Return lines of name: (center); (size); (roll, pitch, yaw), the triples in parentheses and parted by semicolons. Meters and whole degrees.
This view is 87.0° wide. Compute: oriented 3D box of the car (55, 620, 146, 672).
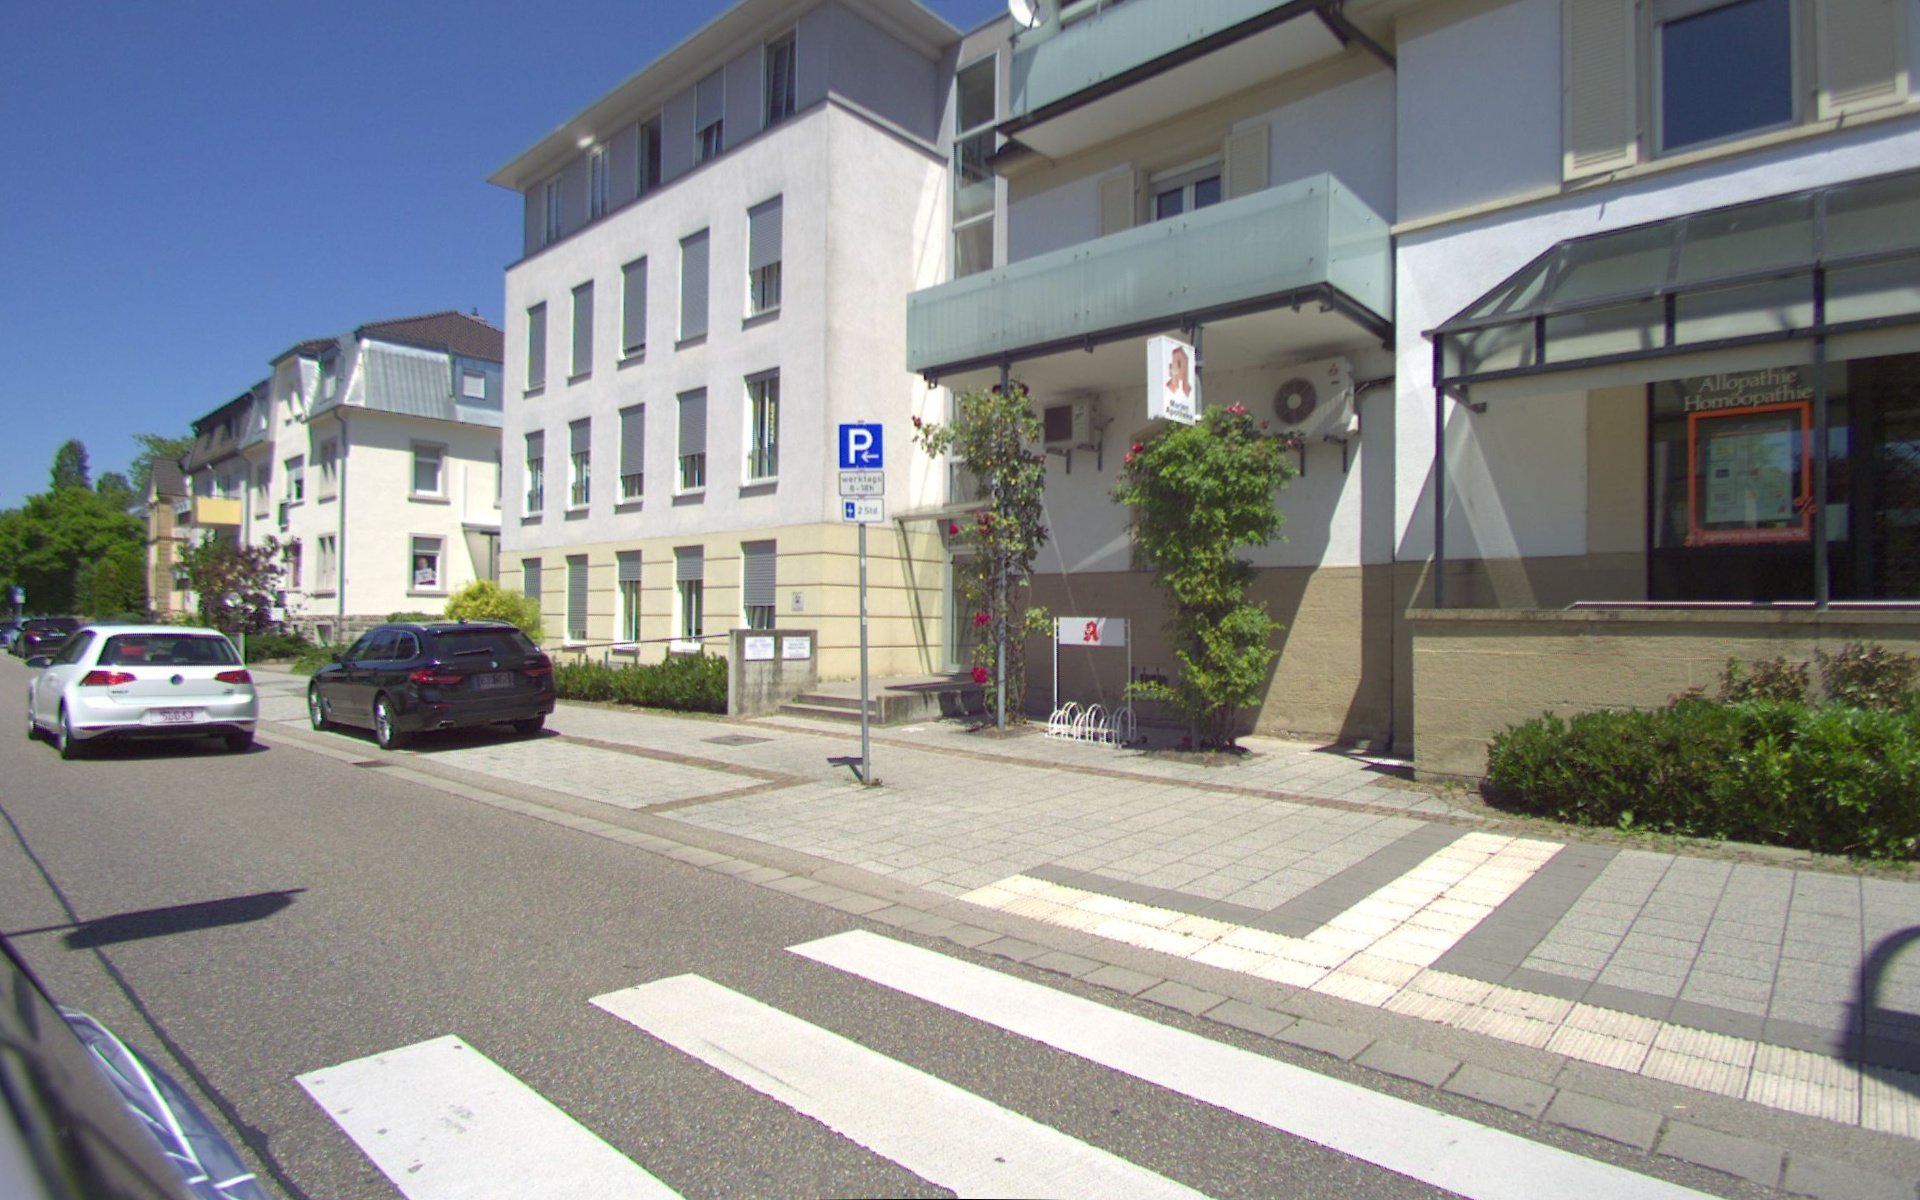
car: (-27.421, 1.408, 32.246); (4.260, 1.463, 1.714); (-1, 1, 43)

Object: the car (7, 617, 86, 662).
car: (-35.886, 1.499, 39.725); (4.435, 1.598, 1.899); (-1, 1, 43)

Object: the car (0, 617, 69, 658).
car: (-39.888, 1.557, 43.523); (4.287, 1.598, 1.899); (-1, 1, 43)

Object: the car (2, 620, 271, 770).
car: (-9.887, 1.019, 12.062); (3.867, 1.493, 1.789); (-1, -4, 41)

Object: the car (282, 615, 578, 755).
car: (-7.240, 0.975, 13.530); (5.149, 1.463, 1.896); (-1, 1, 43)

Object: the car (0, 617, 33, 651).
car: (-50.385, 1.763, 53.368); (4.288, 1.703, 1.899); (-1, 1, 44)
